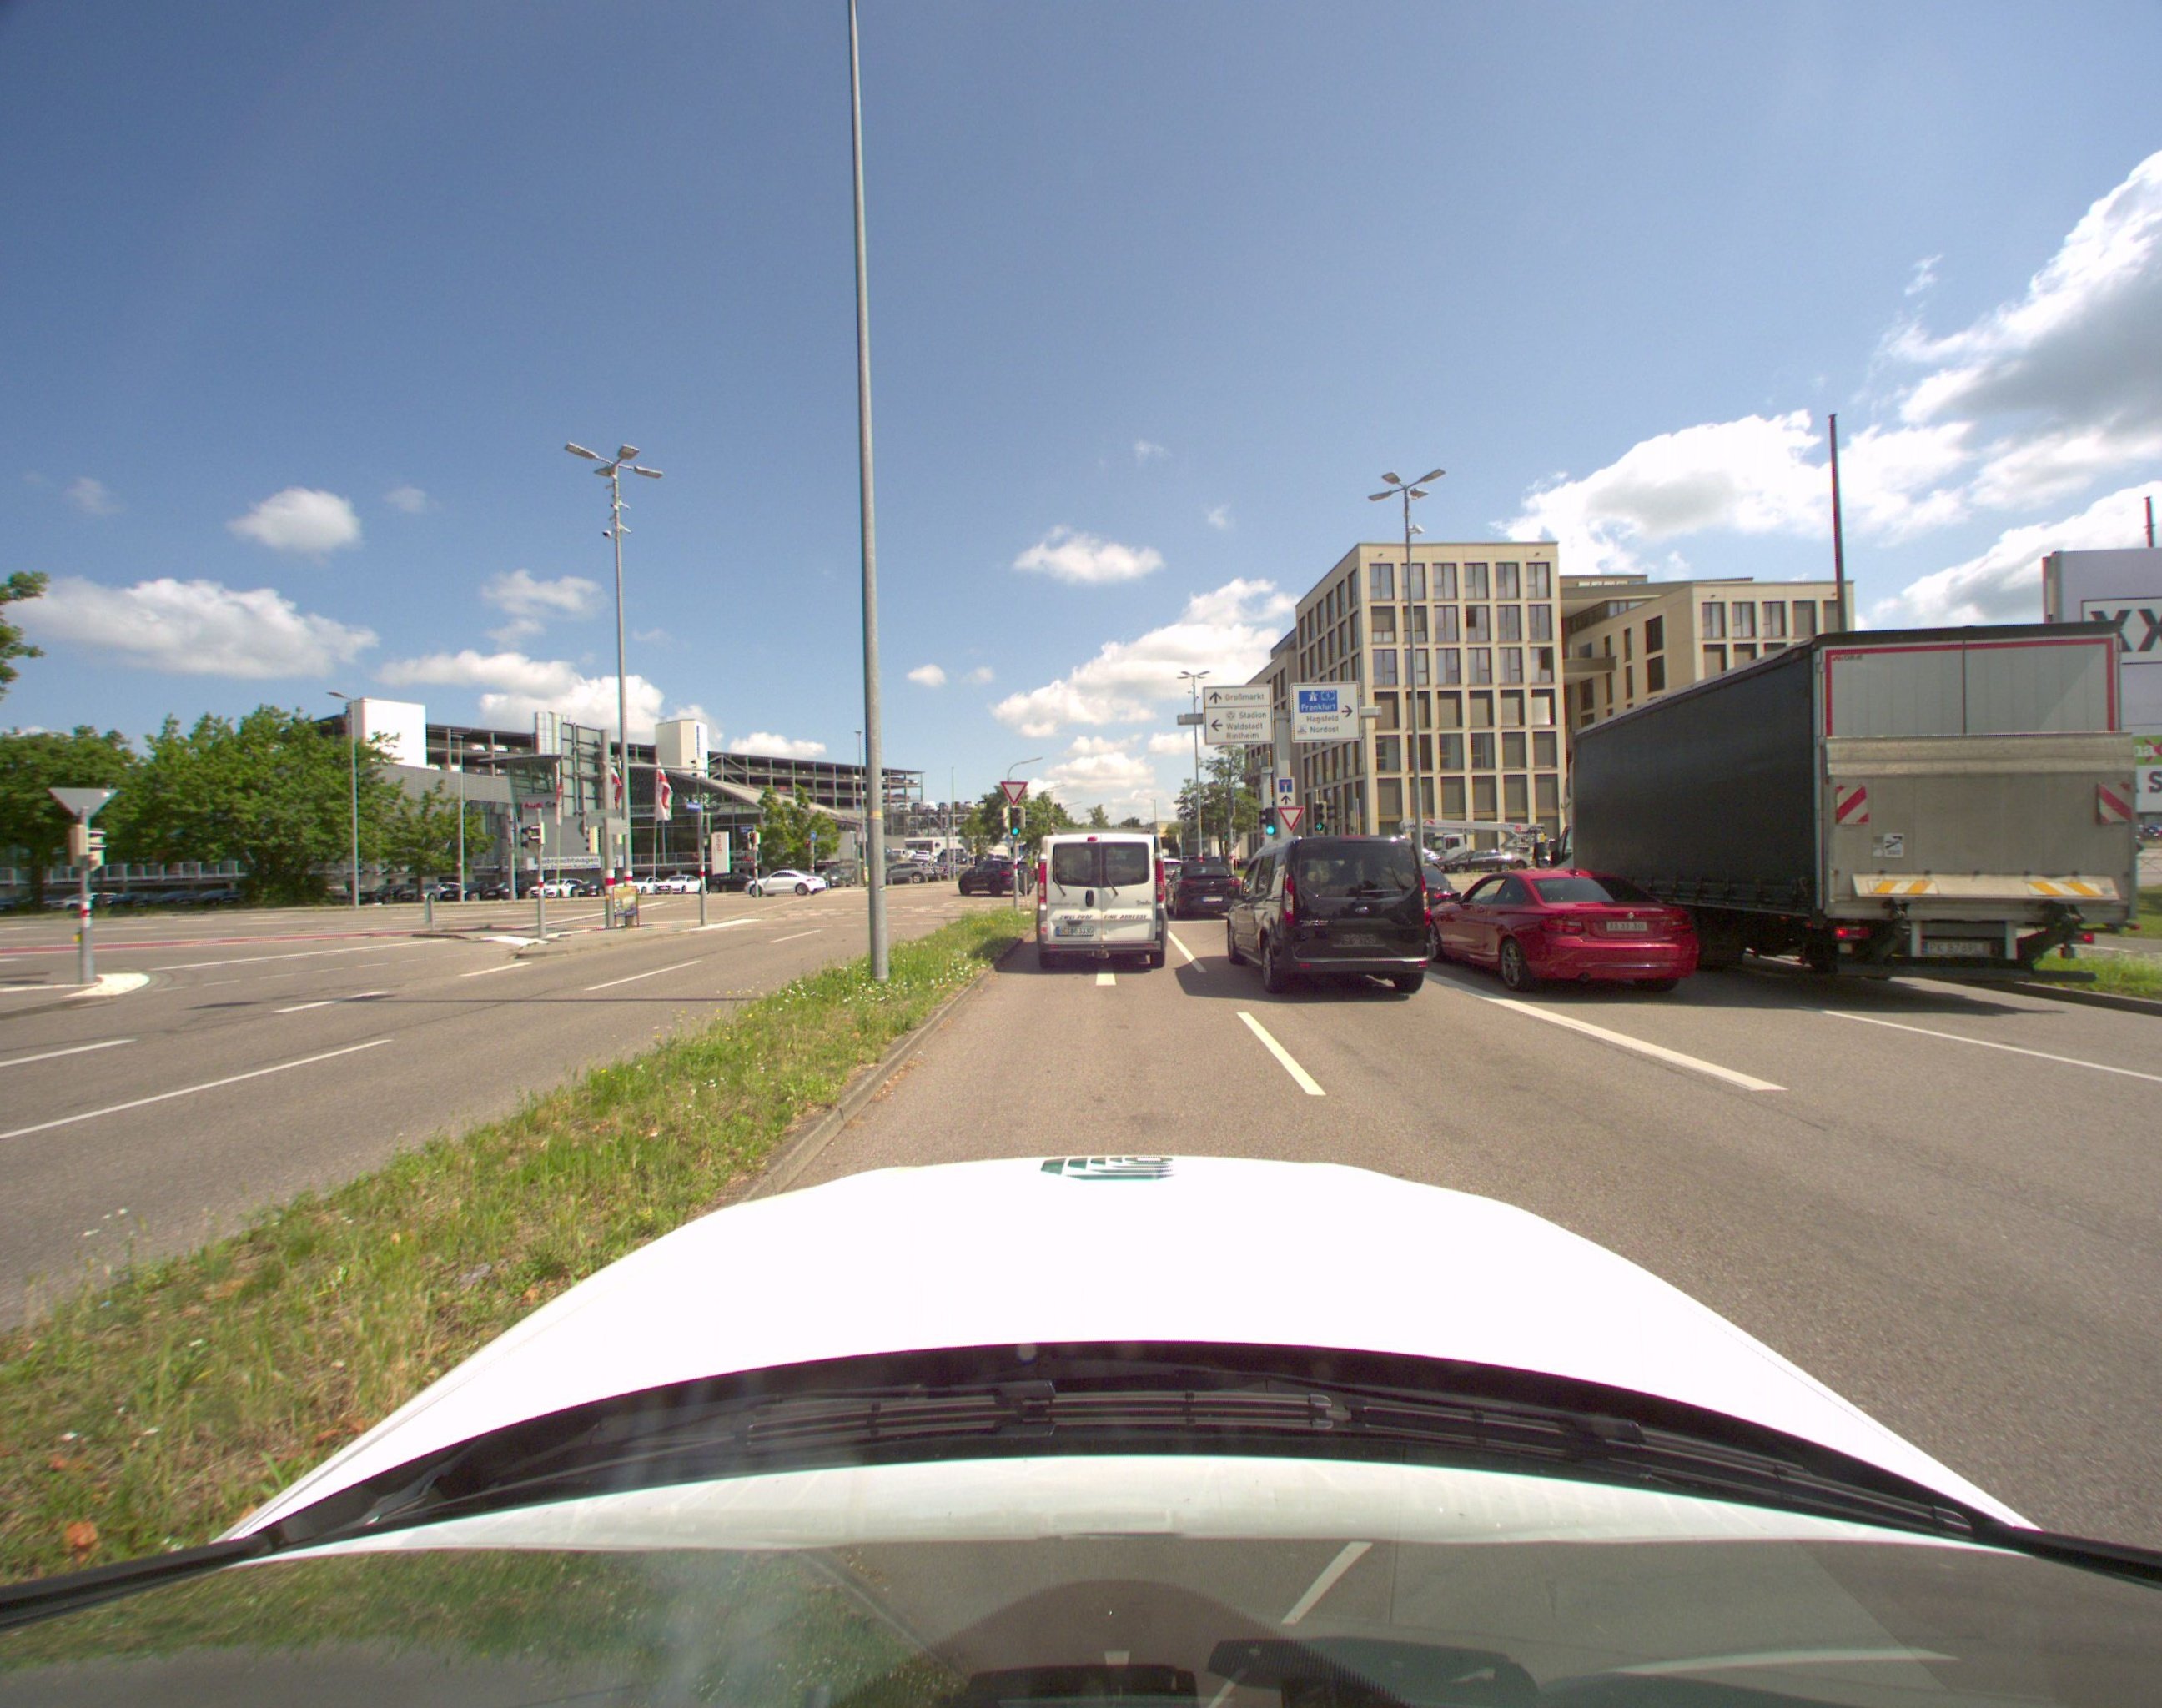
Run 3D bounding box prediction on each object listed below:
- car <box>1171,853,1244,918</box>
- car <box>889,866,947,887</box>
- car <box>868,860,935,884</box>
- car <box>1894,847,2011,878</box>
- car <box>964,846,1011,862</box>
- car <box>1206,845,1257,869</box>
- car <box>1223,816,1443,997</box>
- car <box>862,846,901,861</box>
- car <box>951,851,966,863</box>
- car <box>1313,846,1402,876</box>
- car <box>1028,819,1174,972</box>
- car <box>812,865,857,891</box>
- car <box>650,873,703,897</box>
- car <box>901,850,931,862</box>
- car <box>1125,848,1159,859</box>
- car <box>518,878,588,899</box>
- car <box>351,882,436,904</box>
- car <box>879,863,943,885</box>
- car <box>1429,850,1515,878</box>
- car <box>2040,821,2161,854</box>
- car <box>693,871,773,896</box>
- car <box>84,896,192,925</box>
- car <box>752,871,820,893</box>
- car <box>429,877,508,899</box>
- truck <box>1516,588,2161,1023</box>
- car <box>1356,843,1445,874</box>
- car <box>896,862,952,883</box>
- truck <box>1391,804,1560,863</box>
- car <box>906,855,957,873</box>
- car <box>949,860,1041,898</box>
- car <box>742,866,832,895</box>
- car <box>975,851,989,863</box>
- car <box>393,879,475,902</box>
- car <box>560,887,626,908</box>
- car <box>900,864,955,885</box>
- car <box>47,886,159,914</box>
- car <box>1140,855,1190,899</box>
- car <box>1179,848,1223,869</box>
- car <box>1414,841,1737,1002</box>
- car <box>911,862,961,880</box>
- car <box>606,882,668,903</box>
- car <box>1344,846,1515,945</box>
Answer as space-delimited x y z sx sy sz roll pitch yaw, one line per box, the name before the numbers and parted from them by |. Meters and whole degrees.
car | 3.405 0.817 22.512 1.765 1.629 4.007 -1 -1 6
car | -13.860 1.926 69.487 4.562 1.678 1.906 0 -1 -2
car | -13.418 1.343 61.094 4.562 1.678 1.906 0 -1 -2
car | 53.760 0.540 50.326 4.667 1.838 1.834 -1 -1 12
car | -12.873 -0.035 112.340 6.373 2.102 1.763 0 -1 -4
car | 13.304 0.275 72.157 3.982 2.014 1.995 0 -1 -7
car | 3.048 0.588 10.745 1.816 1.905 4.003 -1 -1 3
car | -24.572 -0.031 100.226 4.433 1.801 1.762 0 -1 -4
car | -15.819 0.405 105.421 1.557 1.552 3.597 0 -1 -3
car | 17.394 0.433 51.354 4.969 1.838 1.996 0 -1 -6
car | 0.340 0.593 13.429 1.965 2.060 4.566 -1 -1 2
car | -16.992 1.649 56.446 1.896 1.678 4.584 0 -1 -3
car | -27.535 2.158 55.542 1.786 1.464 3.995 -2 -4 -3
car | -22.809 0.311 112.663 3.987 1.552 1.758 0 -1 -11
car | 11.861 -0.094 158.482 6.321 2.014 2.572 0 -1 -1
car | -35.639 2.318 55.149 1.896 1.297 4.584 0 -1 -3
car | -45.982 2.584 54.583 1.896 1.405 4.584 0 -2 -3
car | -13.235 1.572 63.524 4.562 1.678 1.906 0 -1 -2
car | 22.987 0.590 47.930 4.184 1.627 1.828 0 -1 0
car | 61.177 -0.942 48.936 4.401 1.838 1.834 -1 -1 12
car | -24.076 2.063 56.474 4.731 1.464 1.793 -2 -4 -4
car | -62.423 3.698 54.050 1.896 1.678 4.584 0 -1 -3
car | -23.869 2.271 66.000 4.731 1.511 1.982 -2 -4 -4
car | -41.024 2.320 54.710 1.896 1.384 4.584 0 -3 -3
truck | 9.737 -0.354 12.216 3.191 4.027 9.099 -1 -1 12
car | 17.470 0.272 44.652 4.192 1.627 1.824 0 -1 -6
car | -13.859 1.645 71.928 4.562 1.678 1.906 -1 0 -2
truck | 25.043 -1.271 51.917 9.737 3.555 2.670 0 -1 -6
car | -14.162 0.964 77.313 4.562 1.678 1.906 0 -1 -2
car | -3.882 1.104 36.429 4.214 1.618 1.788 -2 -2 44
car | -15.292 1.393 42.476 3.965 1.442 1.865 -1 -1 7
car | -12.682 0.386 104.791 1.557 1.552 3.597 -1 -1 -3
car | -43.314 2.490 54.692 1.896 1.405 4.583 0 -4 -3
car | -33.048 2.911 55.319 1.896 1.297 4.584 0 -1 -3
car | -13.990 1.863 74.402 4.562 1.678 1.906 -1 0 -2
car | -64.560 2.991 53.882 1.896 1.678 4.584 0 -1 -3
car | 3.289 0.889 32.604 1.767 1.629 4.003 -1 -1 3
car | 12.055 0.467 82.073 3.982 2.014 1.995 0 -1 -7
car | 5.982 0.755 10.562 1.850 1.656 4.223 -1 -2 4
car | -14.265 1.660 80.087 4.562 1.678 1.906 0 -1 -2
car | -30.284 2.612 55.705 1.896 1.297 4.584 0 -1 -3
car | 6.850 0.739 16.525 1.851 1.655 4.223 3 0 4
